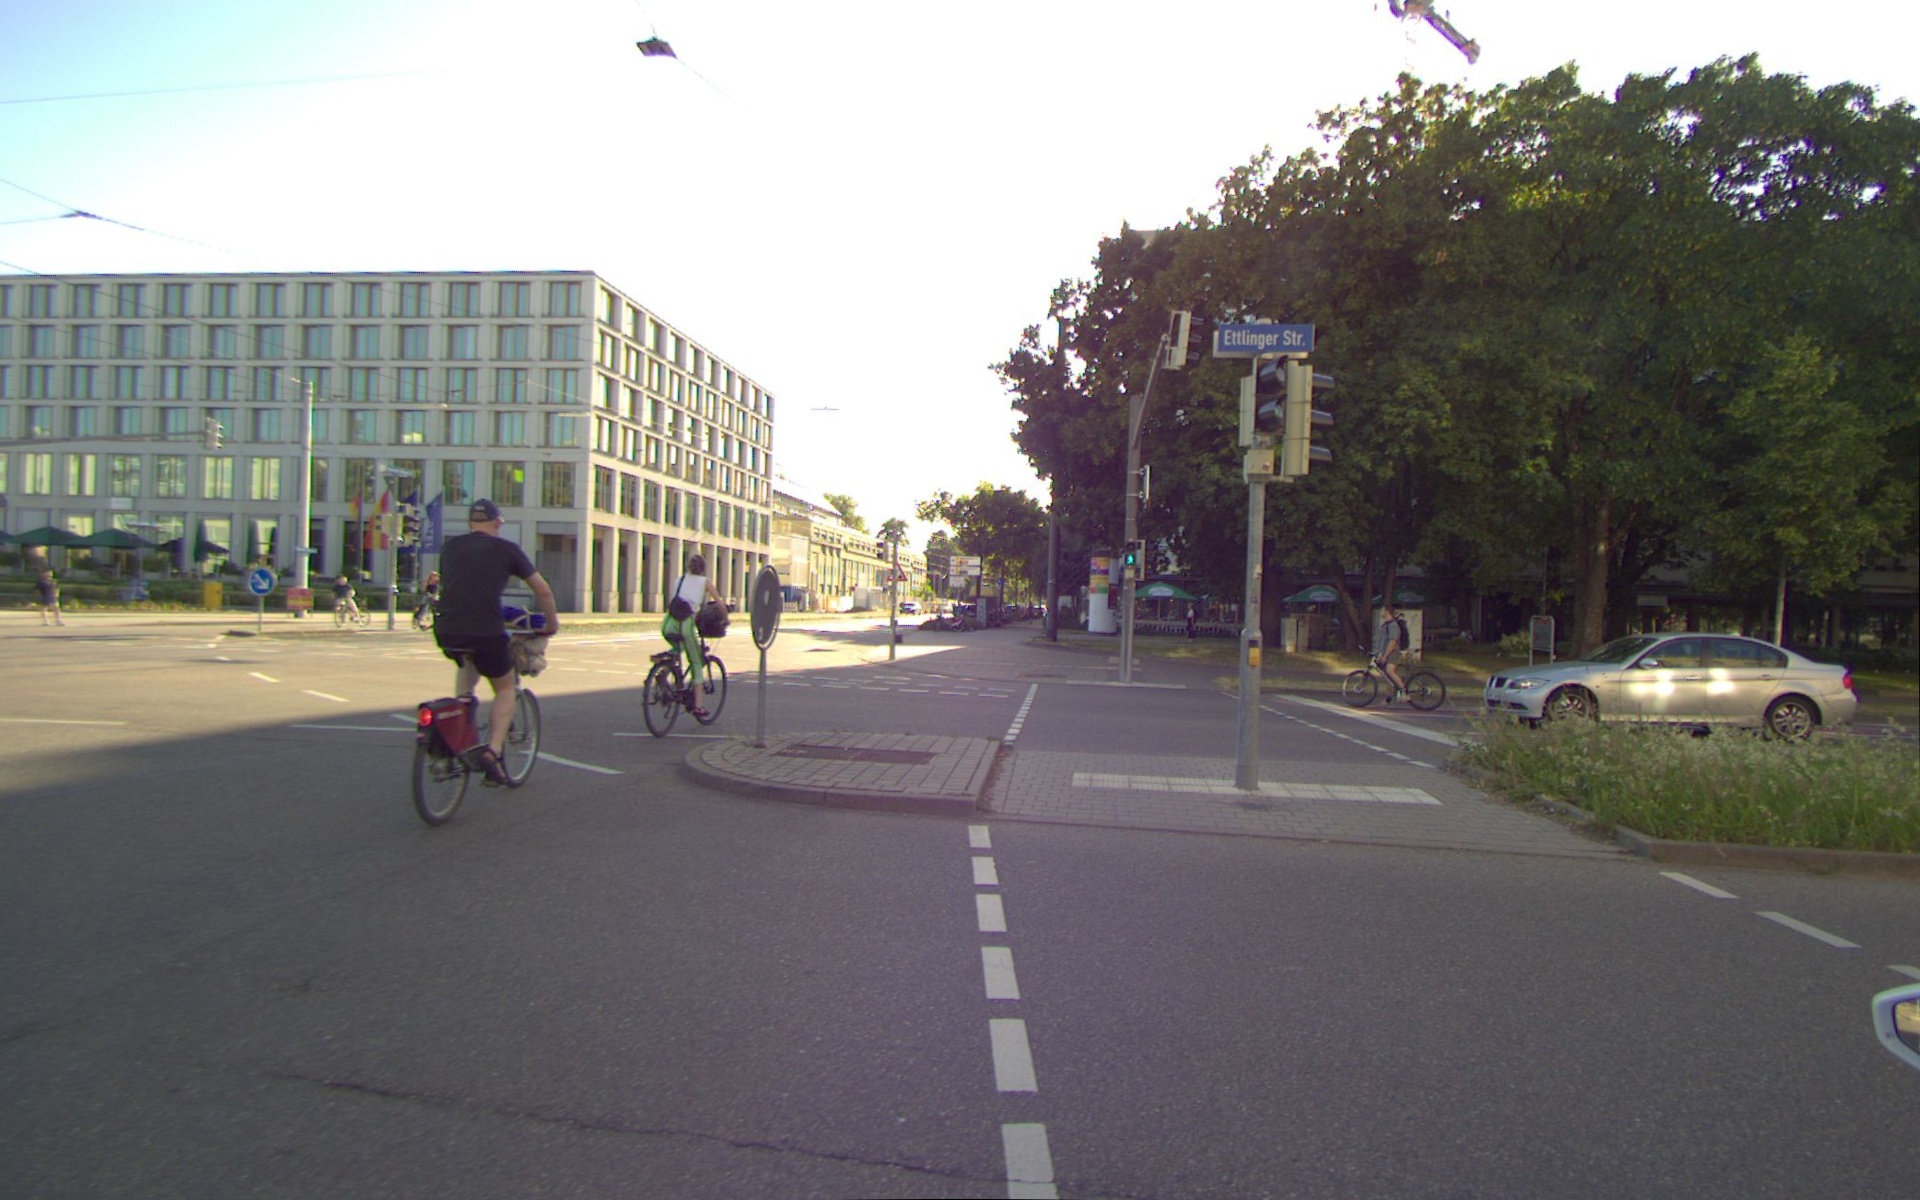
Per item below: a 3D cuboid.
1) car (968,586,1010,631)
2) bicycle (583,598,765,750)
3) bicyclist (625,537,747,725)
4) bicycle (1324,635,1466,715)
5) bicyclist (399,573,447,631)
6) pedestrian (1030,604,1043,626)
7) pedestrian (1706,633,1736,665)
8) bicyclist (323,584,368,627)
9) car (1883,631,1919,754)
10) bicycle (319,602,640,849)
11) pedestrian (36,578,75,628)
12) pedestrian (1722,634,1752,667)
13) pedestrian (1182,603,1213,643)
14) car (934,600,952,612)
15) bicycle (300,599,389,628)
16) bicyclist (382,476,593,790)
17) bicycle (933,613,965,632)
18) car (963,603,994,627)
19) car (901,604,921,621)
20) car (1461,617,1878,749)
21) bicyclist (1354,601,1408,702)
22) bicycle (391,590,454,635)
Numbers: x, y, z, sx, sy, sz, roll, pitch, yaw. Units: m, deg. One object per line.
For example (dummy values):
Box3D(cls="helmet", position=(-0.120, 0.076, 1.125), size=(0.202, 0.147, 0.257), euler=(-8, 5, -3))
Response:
Box3D(cls="car", position=(2.153, 0.624, 72.212), size=(2.547, 2.991, 5.092), euler=(2, 0, 6))
Box3D(cls="bicycle", position=(-2.689, 0.648, 9.796), size=(0.762, 1.256, 2.314), euler=(3, 0, 8))
Box3D(cls="bicyclist", position=(-2.665, 0.291, 9.862), size=(0.760, 1.713, 0.926), euler=(3, 0, 8))
Box3D(cls="bicycle", position=(7.567, 1.274, 17.566), size=(2.206, 1.256, 0.778), euler=(1, -1, 23))
Box3D(cls="bicyclist", position=(-15.400, 0.064, 28.809), size=(0.957, 1.640, 0.849), euler=(1, 0, 38))
Box3D(cls="pedestrian", position=(6.071, 1.174, 79.986), size=(0.770, 1.763, 0.893), euler=(2, 0, -11))
Box3D(cls="pedestrian", position=(32.661, 2.095, 43.107), size=(0.651, 1.357, 0.909), euler=(2, 0, 12))
Box3D(cls="bicyclist", position=(-20.000, 0.181, 32.683), size=(0.812, 1.380, 0.970), euler=(2, 0, 32))
Box3D(cls="car", position=(15.480, 1.352, 13.265), size=(4.457, 1.698, 2.001), euler=(2, 0, 9))
Box3D(cls="bicycle", position=(-2.883, 0.676, 6.337), size=(0.762, 1.256, 2.022), euler=(3, 0, 8))
Box3D(cls="pedestrian", position=(-28.346, 0.099, 31.476), size=(0.591, 1.546, 0.624), euler=(2, 0, 4))
Box3D(cls="pedestrian", position=(33.255, 2.138, 43.004), size=(0.701, 1.357, 0.830), euler=(2, 0, 12))
Box3D(cls="pedestrian", position=(10.828, 1.048, 45.795), size=(1.192, 1.763, 0.894), euler=(2, 0, 24))
Box3D(cls="car", position=(-2.436, 0.915, 144.252), size=(1.959, 1.662, 4.002), euler=(2, 0, 6))
Box3D(cls="bicycle", position=(-19.992, 0.450, 32.692), size=(0.829, 0.862, 2.330), euler=(1, -1, 32))
Box3D(cls="bicyclist", position=(-2.881, 0.191, 6.209), size=(0.739, 1.766, 0.839), euler=(3, -1, 8))
Box3D(cls="bicycle", position=(-0.546, 1.137, 50.141), size=(1.574, 0.901, 0.770), euler=(2, 0, 0))
Box3D(cls="car", position=(1.229, 0.974, 65.935), size=(1.669, 1.447, 4.002), euler=(2, -1, 6))
Box3D(cls="car", position=(-6.287, 1.621, 129.271), size=(1.959, 1.996, 4.002), euler=(2, 0, 6))
Box3D(cls="car", position=(9.932, 1.135, 14.441), size=(4.457, 1.581, 2.002), euler=(2, -2, 9))
Box3D(cls="bicyclist", position=(7.396, 0.894, 17.649), size=(0.822, 1.701, 0.783), euler=(2, -1, 23))
Box3D(cls="bicycle", position=(-15.439, 0.355, 28.836), size=(1.982, 1.247, 0.843), euler=(1, 0, 38))
